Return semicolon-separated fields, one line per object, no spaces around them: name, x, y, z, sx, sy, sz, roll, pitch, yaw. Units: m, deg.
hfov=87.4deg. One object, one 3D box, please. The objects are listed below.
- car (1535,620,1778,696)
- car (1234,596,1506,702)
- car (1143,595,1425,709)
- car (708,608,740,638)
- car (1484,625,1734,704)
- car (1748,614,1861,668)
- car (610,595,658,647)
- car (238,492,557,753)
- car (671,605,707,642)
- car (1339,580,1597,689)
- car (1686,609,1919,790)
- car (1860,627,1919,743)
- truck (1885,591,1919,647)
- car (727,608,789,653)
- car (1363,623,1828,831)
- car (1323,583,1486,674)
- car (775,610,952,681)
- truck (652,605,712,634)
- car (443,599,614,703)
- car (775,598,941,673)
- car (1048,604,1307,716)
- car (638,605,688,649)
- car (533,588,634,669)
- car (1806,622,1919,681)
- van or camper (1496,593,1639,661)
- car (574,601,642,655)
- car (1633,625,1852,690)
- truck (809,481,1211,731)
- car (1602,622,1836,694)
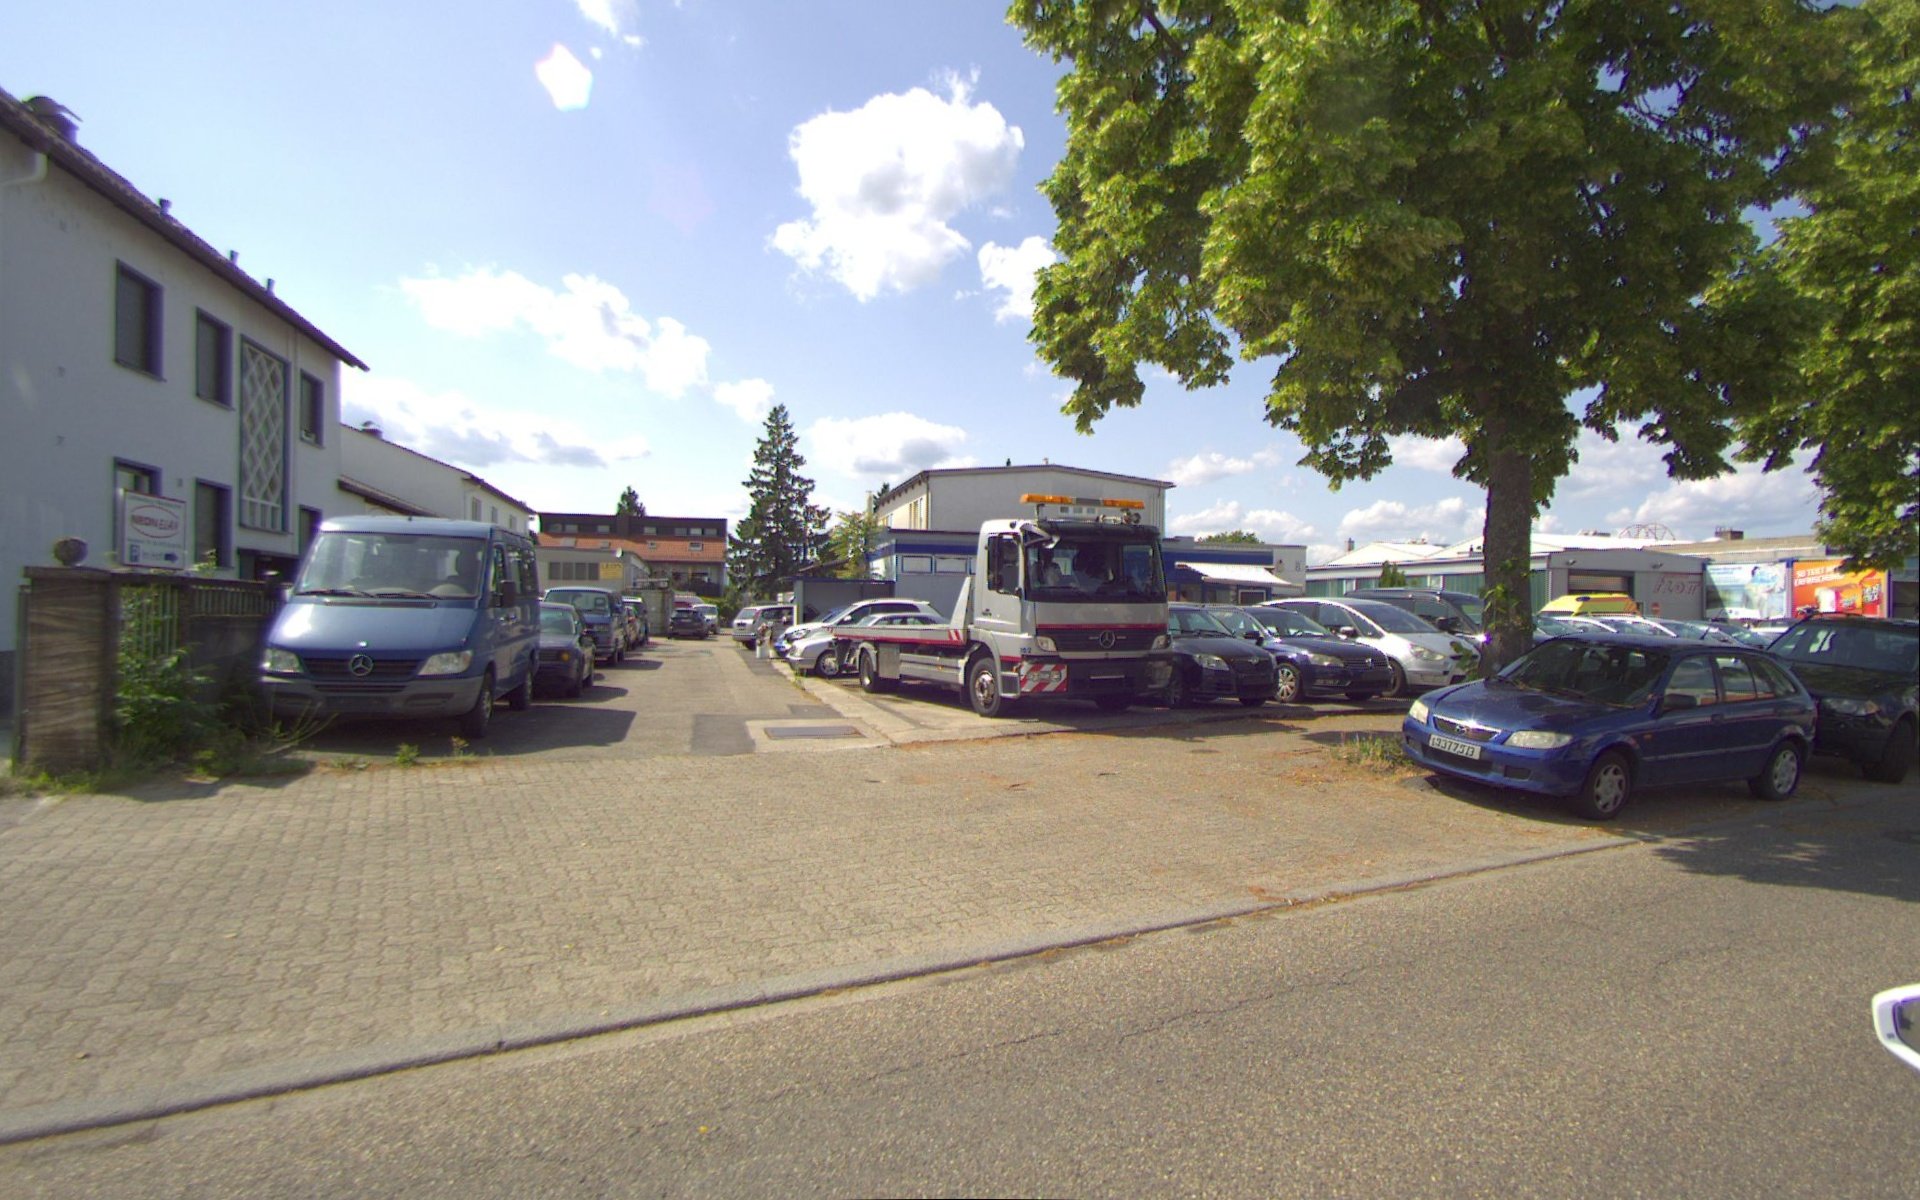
car;15.438;1.231;22.512;1.803;1.509;4.131;2;-2;-26
car;7.044;0.785;17.735;1.805;1.636;4.275;0;-1;-29
car;5.121;0.796;16.587;1.803;1.603;4.510;0;-2;-26
car;-15.154;1.429;64.421;1.723;1.825;3.841;2;-1;-16
car;13.583;1.293;21.292;1.803;1.449;4.131;2;-2;-26
car;27.065;1.303;32.198;3.252;1.677;1.440;1;-1;-22
car;-14.399;0.919;44.493;1.822;2.128;3.903;2;-1;-16
car;-5.949;0.252;11.398;1.967;2.261;5.000;2;-1;-16
car;-14.376;1.229;53.170;1.723;1.825;3.841;2;-1;-16
car;9.456;0.637;19.049;1.803;1.812;4.131;2;-2;-26
car;10.551;1.022;11.737;4.348;1.723;1.685;1;2;-30
car;15.081;1.216;14.438;4.183;1.549;1.826;1;1;-28
truck;51.305;1.052;50.550;2.487;2.888;6.596;1;1;-16
car;-7.227;1.044;35.641;1.821;1.491;3.941;1;0;-16
car;5.905;1.010;9.291;4.103;1.503;1.694;1;1;-26
car;10.734;0.679;24.188;3.956;2.040;1.701;1;-1;-32
car;-2.197;1.011;22.932;3.706;1.499;1.638;1;0;-24
truck;-19.055;1.327;68.851;3.935;1.933;1.827;1;-1;-17
car;-6.673;0.748;15.961;1.967;1.424;3.853;2;-1;-16
car;-2.567;0.879;25.396;3.868;1.780;1.638;1;0;-24
car;3.152;0.854;15.445;1.656;1.478;4.183;0;-2;-26
car;-11.514;1.019;39.049;1.716;1.608;3.903;2;-1;-16
car;-9.394;0.695;25.381;1.967;1.816;4.480;2;-1;-16
car;26.272;1.435;28.759;4.204;1.554;1.747;1;-1;-29
van or camper;23.635;1.011;39.068;5.282;2.508;1.990;0;0;-22
car;-11.509;0.888;33.051;1.822;1.608;3.903;2;-1;-16
car;19.617;1.389;25.387;1.802;1.392;4.016;1;0;-24
truck;0.082;0.168;16.400;2.683;2.894;9.234;1;-1;-24
car;17.580;1.293;23.474;1.803;1.509;4.013;2;-2;-26
